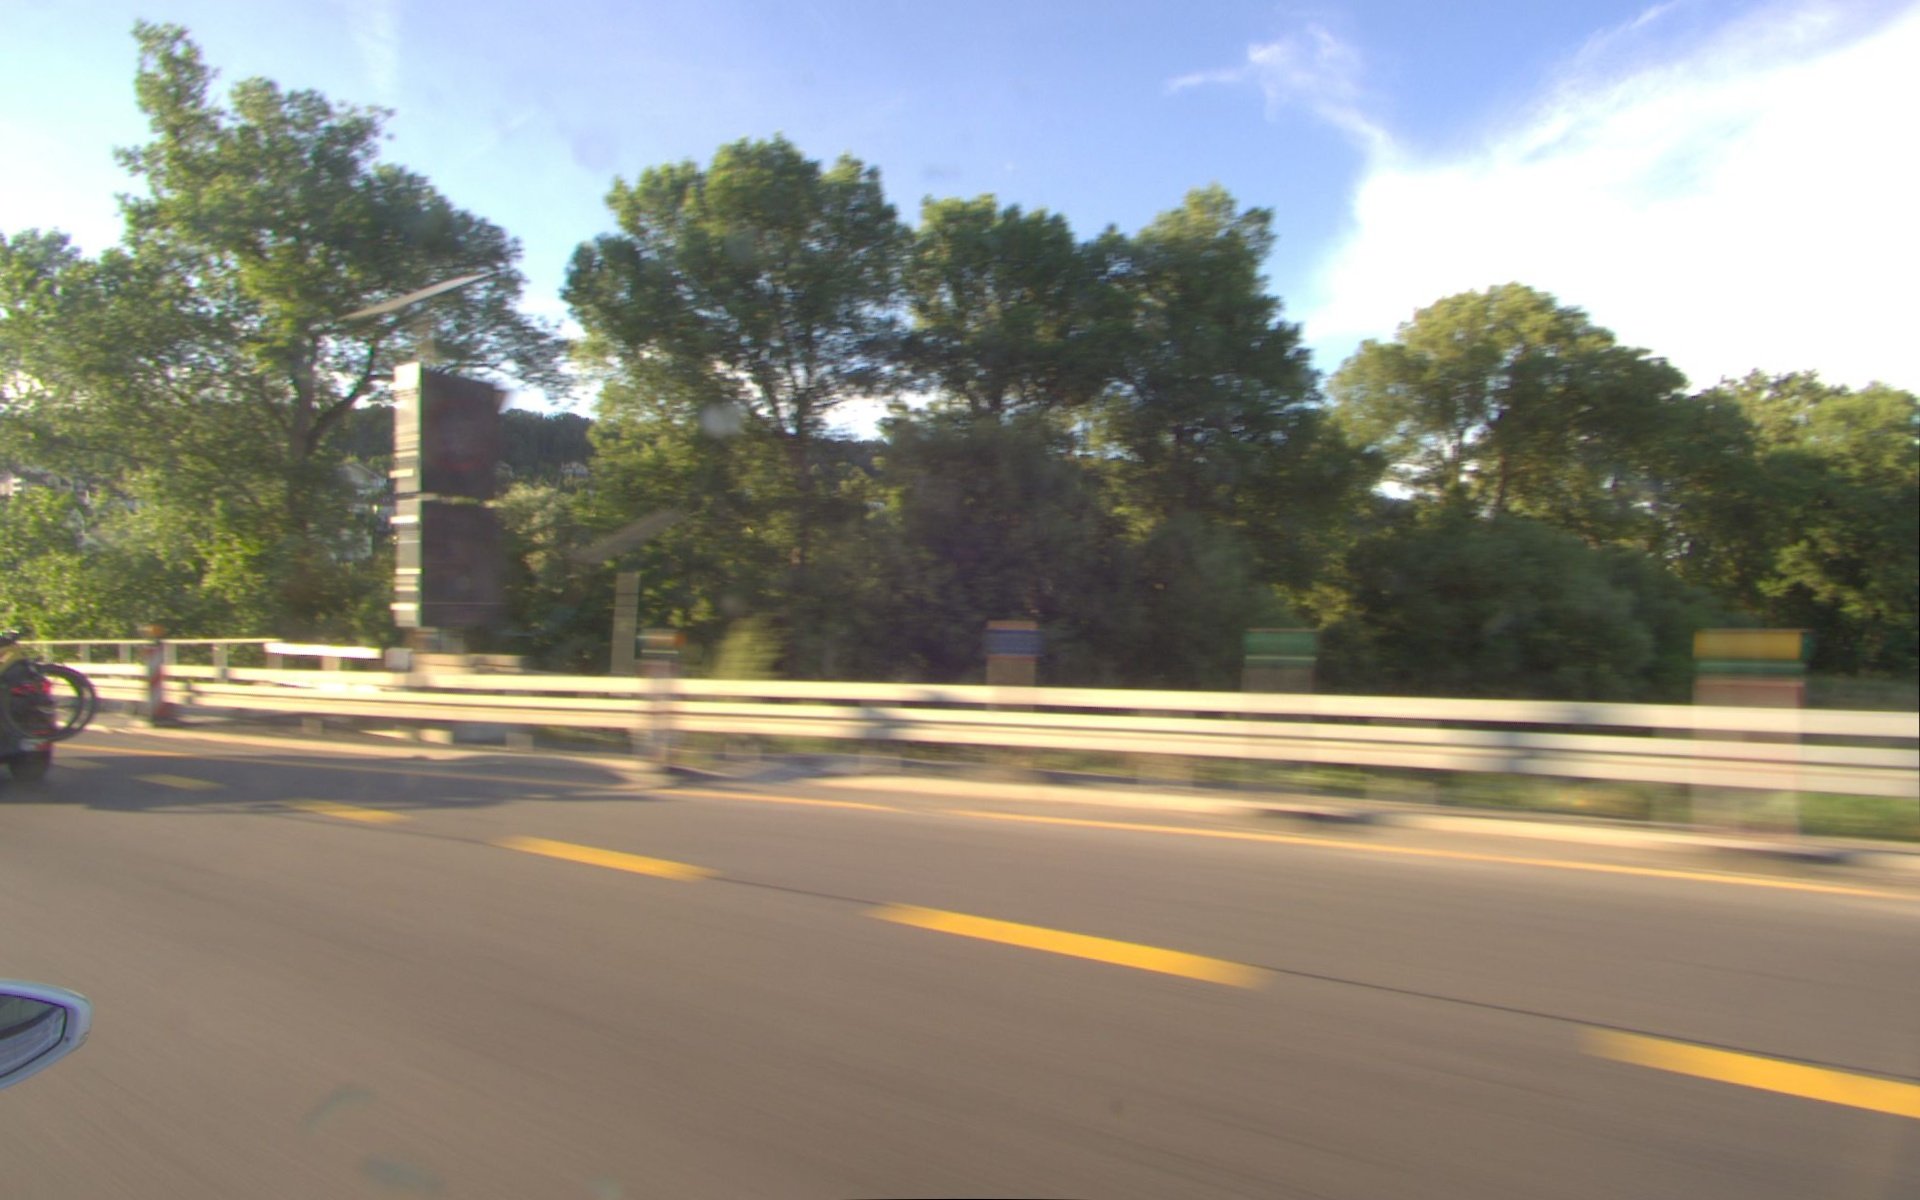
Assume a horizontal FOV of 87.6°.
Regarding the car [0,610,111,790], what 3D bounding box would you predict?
[{"bbox_3d":[-10.806,0.940,10.234,4.894,1.620,1.872,-1,-1,32],"label":"car"}]
